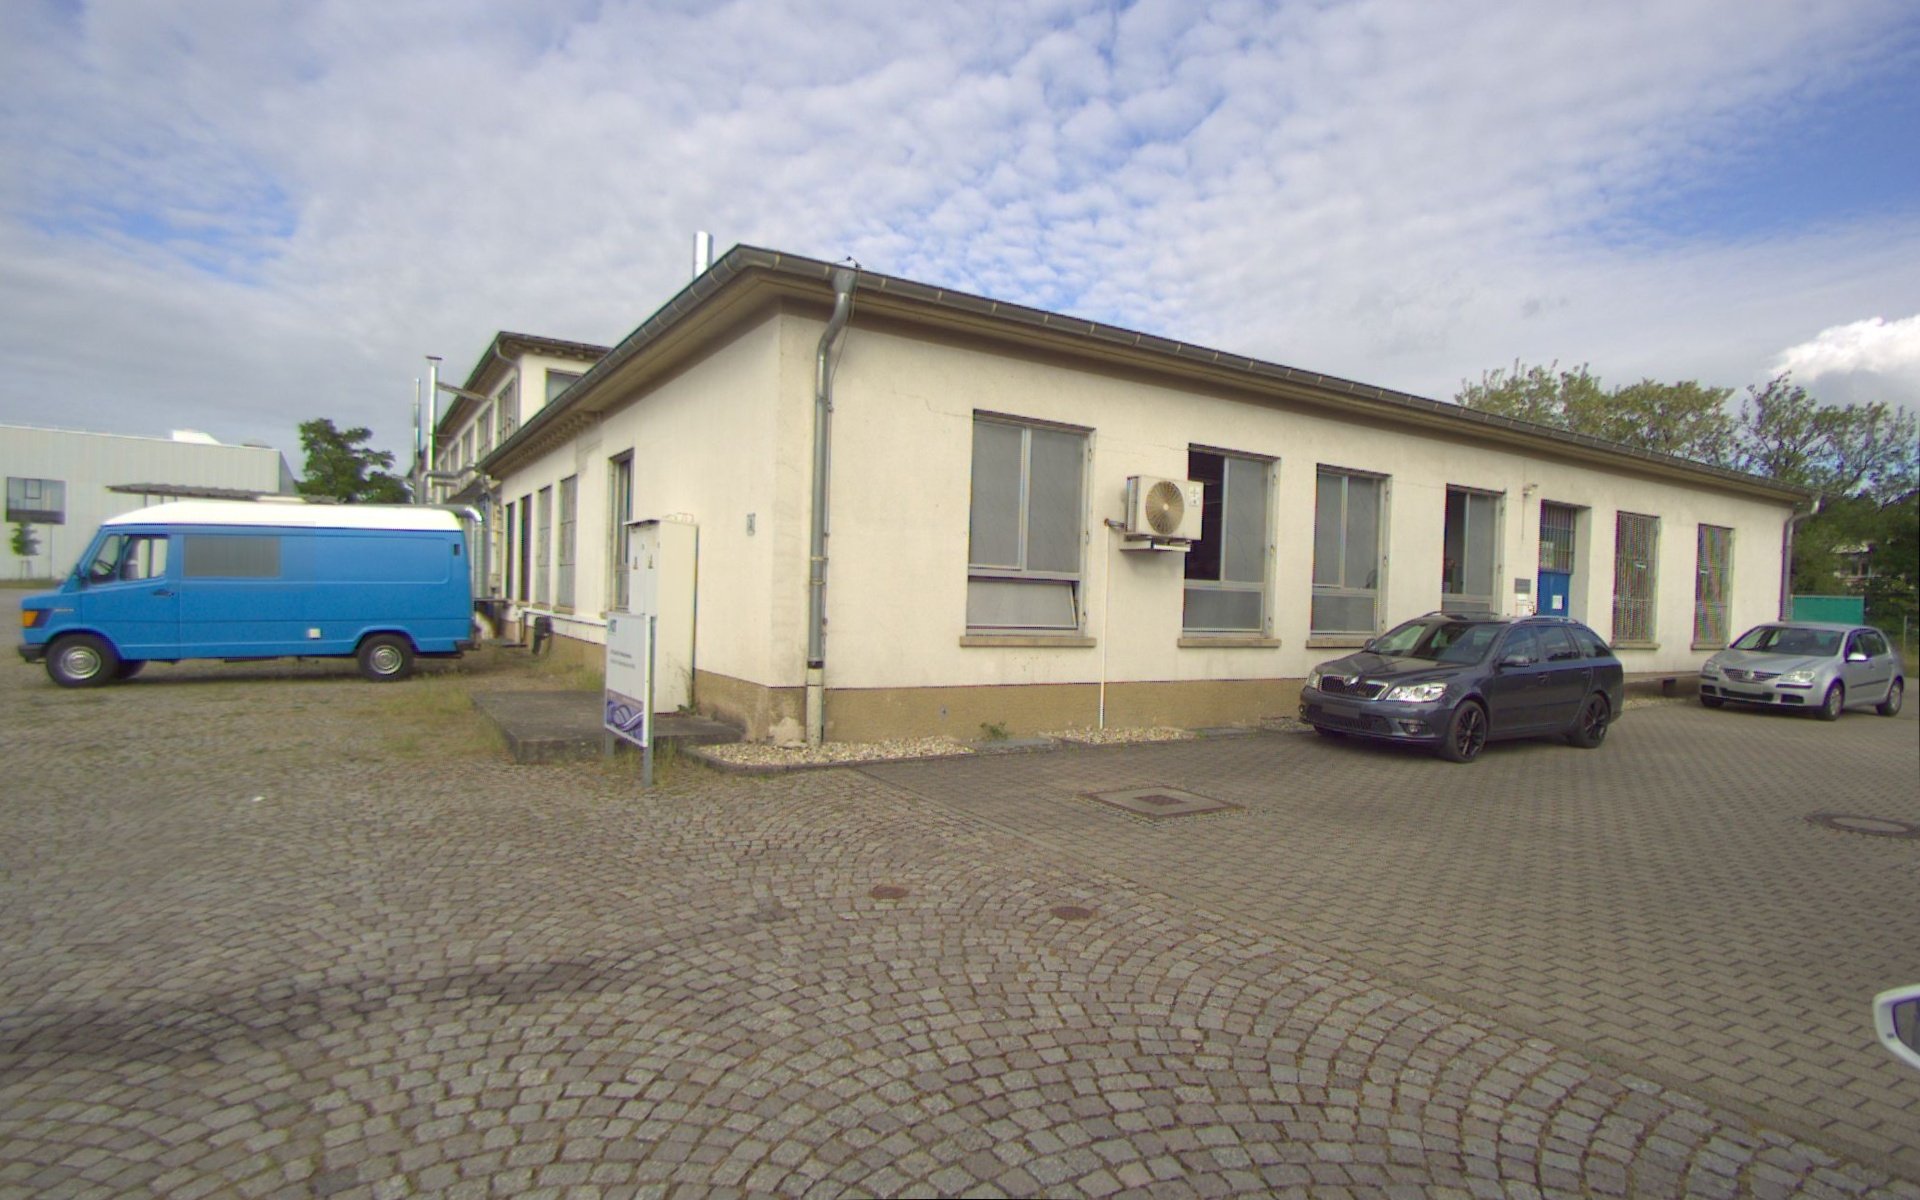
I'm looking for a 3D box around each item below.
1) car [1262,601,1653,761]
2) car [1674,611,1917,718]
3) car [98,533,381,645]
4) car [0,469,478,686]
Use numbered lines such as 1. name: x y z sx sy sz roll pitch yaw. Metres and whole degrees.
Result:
1. car: 5.844 0.808 11.592 4.760 1.480 1.913 1 0 -34
2. car: 14.032 0.997 16.817 4.322 1.458 1.913 1 2 -34
3. car: -14.928 -0.222 21.200 4.629 2.138 1.984 0 1 -30
4. car: -9.837 -0.277 14.240 5.332 2.617 1.984 0 1 -30
